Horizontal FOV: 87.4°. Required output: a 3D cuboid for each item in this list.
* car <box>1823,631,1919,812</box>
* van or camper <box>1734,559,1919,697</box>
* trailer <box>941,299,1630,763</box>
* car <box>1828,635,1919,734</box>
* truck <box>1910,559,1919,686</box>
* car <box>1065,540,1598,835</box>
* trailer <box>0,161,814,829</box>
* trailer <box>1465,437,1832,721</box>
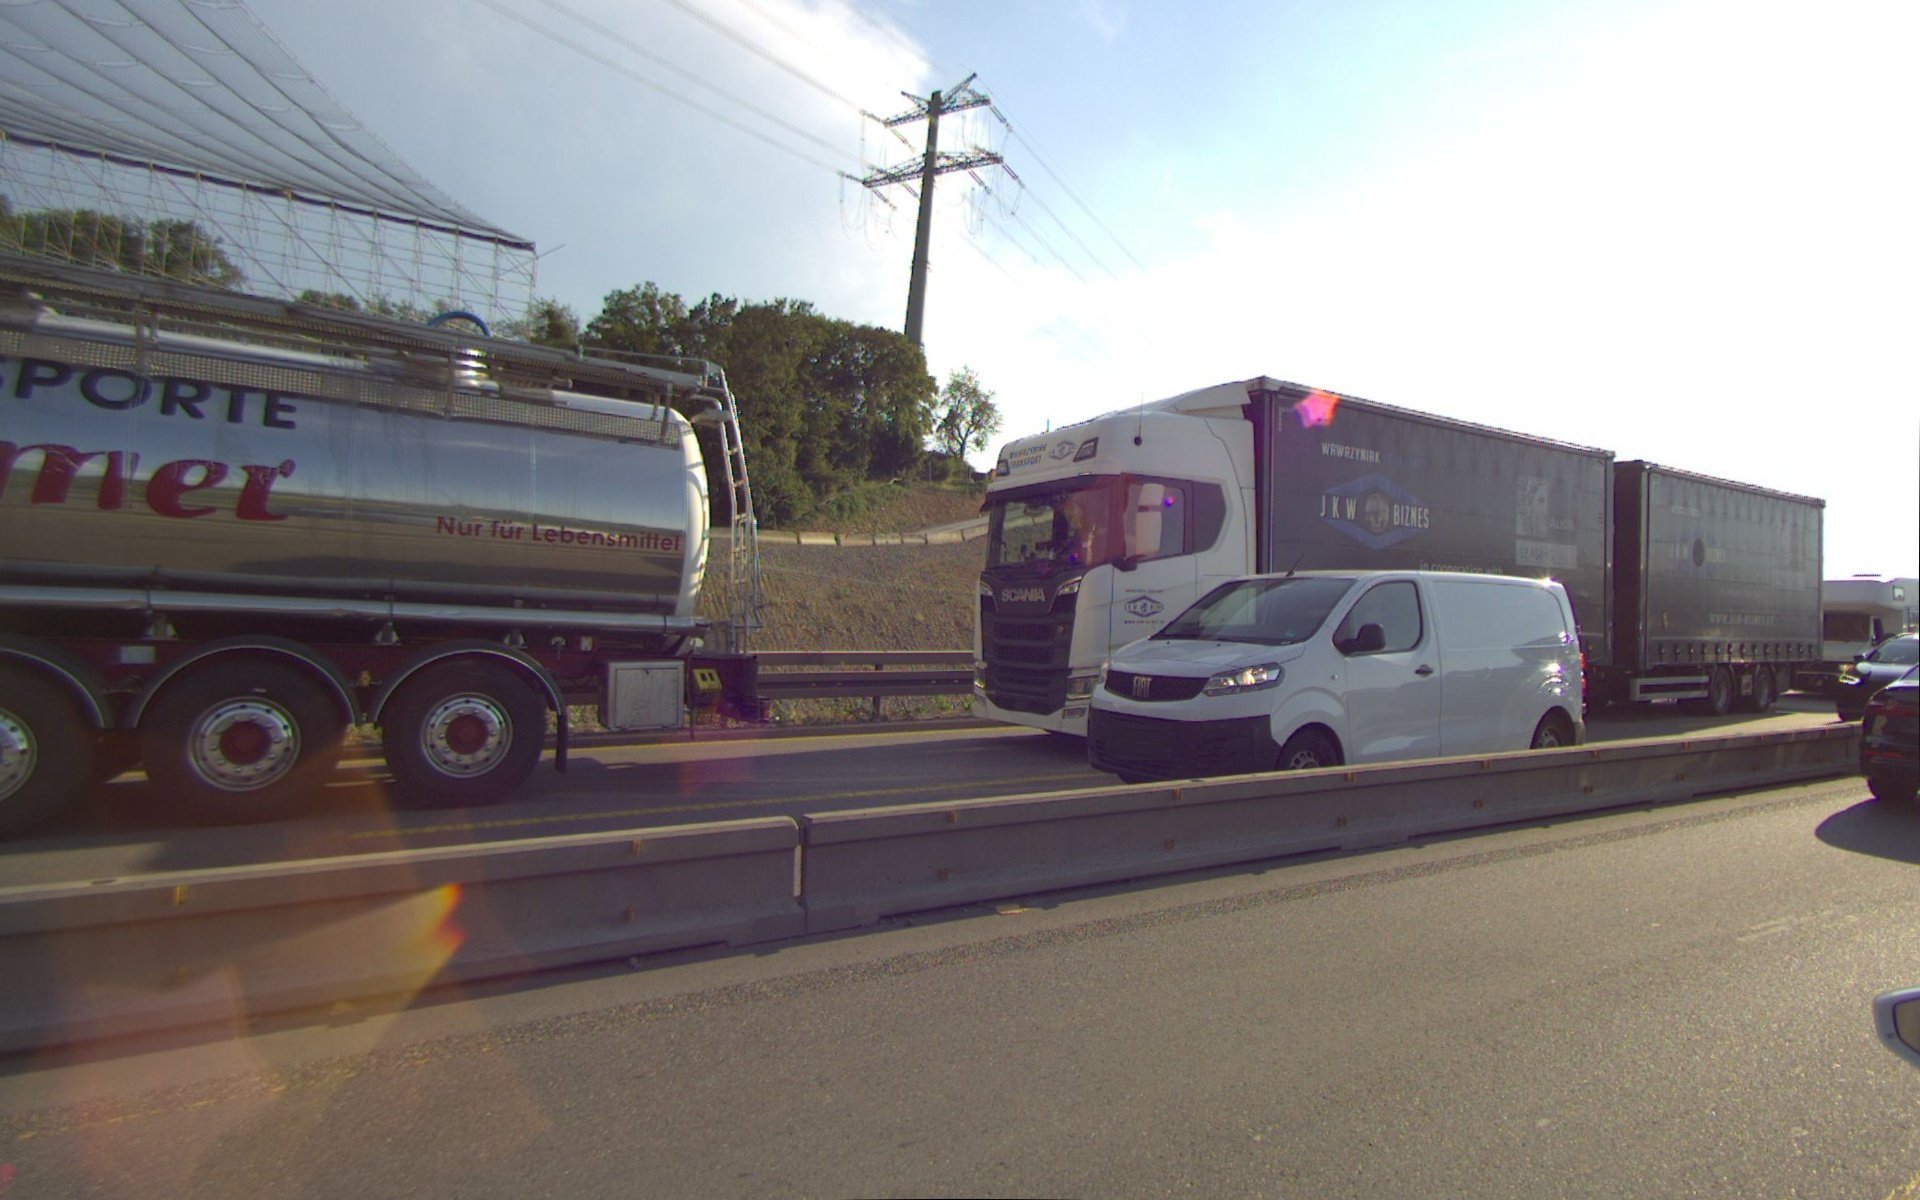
[{"bbox_3d":[9.852,1.030,8.961,4.906,1.417,1.924,2,-1,-32],"label":"car"},{"bbox_3d":[21.776,0.718,24.362,7.537,2.929,2.394,2,-1,-33],"label":"van or camper"},{"bbox_3d":[4.879,-0.484,13.272,10.393,4.386,2.463,2,-1,-32],"label":"trailer"},{"bbox_3d":[16.633,1.396,17.010,4.552,1.498,1.671,2,-1,-32],"label":"car"},{"bbox_3d":[32.035,0.790,31.004,6.449,3.803,2.585,2,-1,-34],"label":"truck"},{"bbox_3d":[3.366,0.658,8.717,4.783,1.951,1.807,2,-1,-33],"label":"car"},{"bbox_3d":[-6.936,-0.634,6.265,11.915,3.840,2.295,2,-1,-31],"label":"trailer"},{"bbox_3d":[12.818,-0.176,18.360,8.452,4.244,2.429,2,-1,-33],"label":"trailer"}]
